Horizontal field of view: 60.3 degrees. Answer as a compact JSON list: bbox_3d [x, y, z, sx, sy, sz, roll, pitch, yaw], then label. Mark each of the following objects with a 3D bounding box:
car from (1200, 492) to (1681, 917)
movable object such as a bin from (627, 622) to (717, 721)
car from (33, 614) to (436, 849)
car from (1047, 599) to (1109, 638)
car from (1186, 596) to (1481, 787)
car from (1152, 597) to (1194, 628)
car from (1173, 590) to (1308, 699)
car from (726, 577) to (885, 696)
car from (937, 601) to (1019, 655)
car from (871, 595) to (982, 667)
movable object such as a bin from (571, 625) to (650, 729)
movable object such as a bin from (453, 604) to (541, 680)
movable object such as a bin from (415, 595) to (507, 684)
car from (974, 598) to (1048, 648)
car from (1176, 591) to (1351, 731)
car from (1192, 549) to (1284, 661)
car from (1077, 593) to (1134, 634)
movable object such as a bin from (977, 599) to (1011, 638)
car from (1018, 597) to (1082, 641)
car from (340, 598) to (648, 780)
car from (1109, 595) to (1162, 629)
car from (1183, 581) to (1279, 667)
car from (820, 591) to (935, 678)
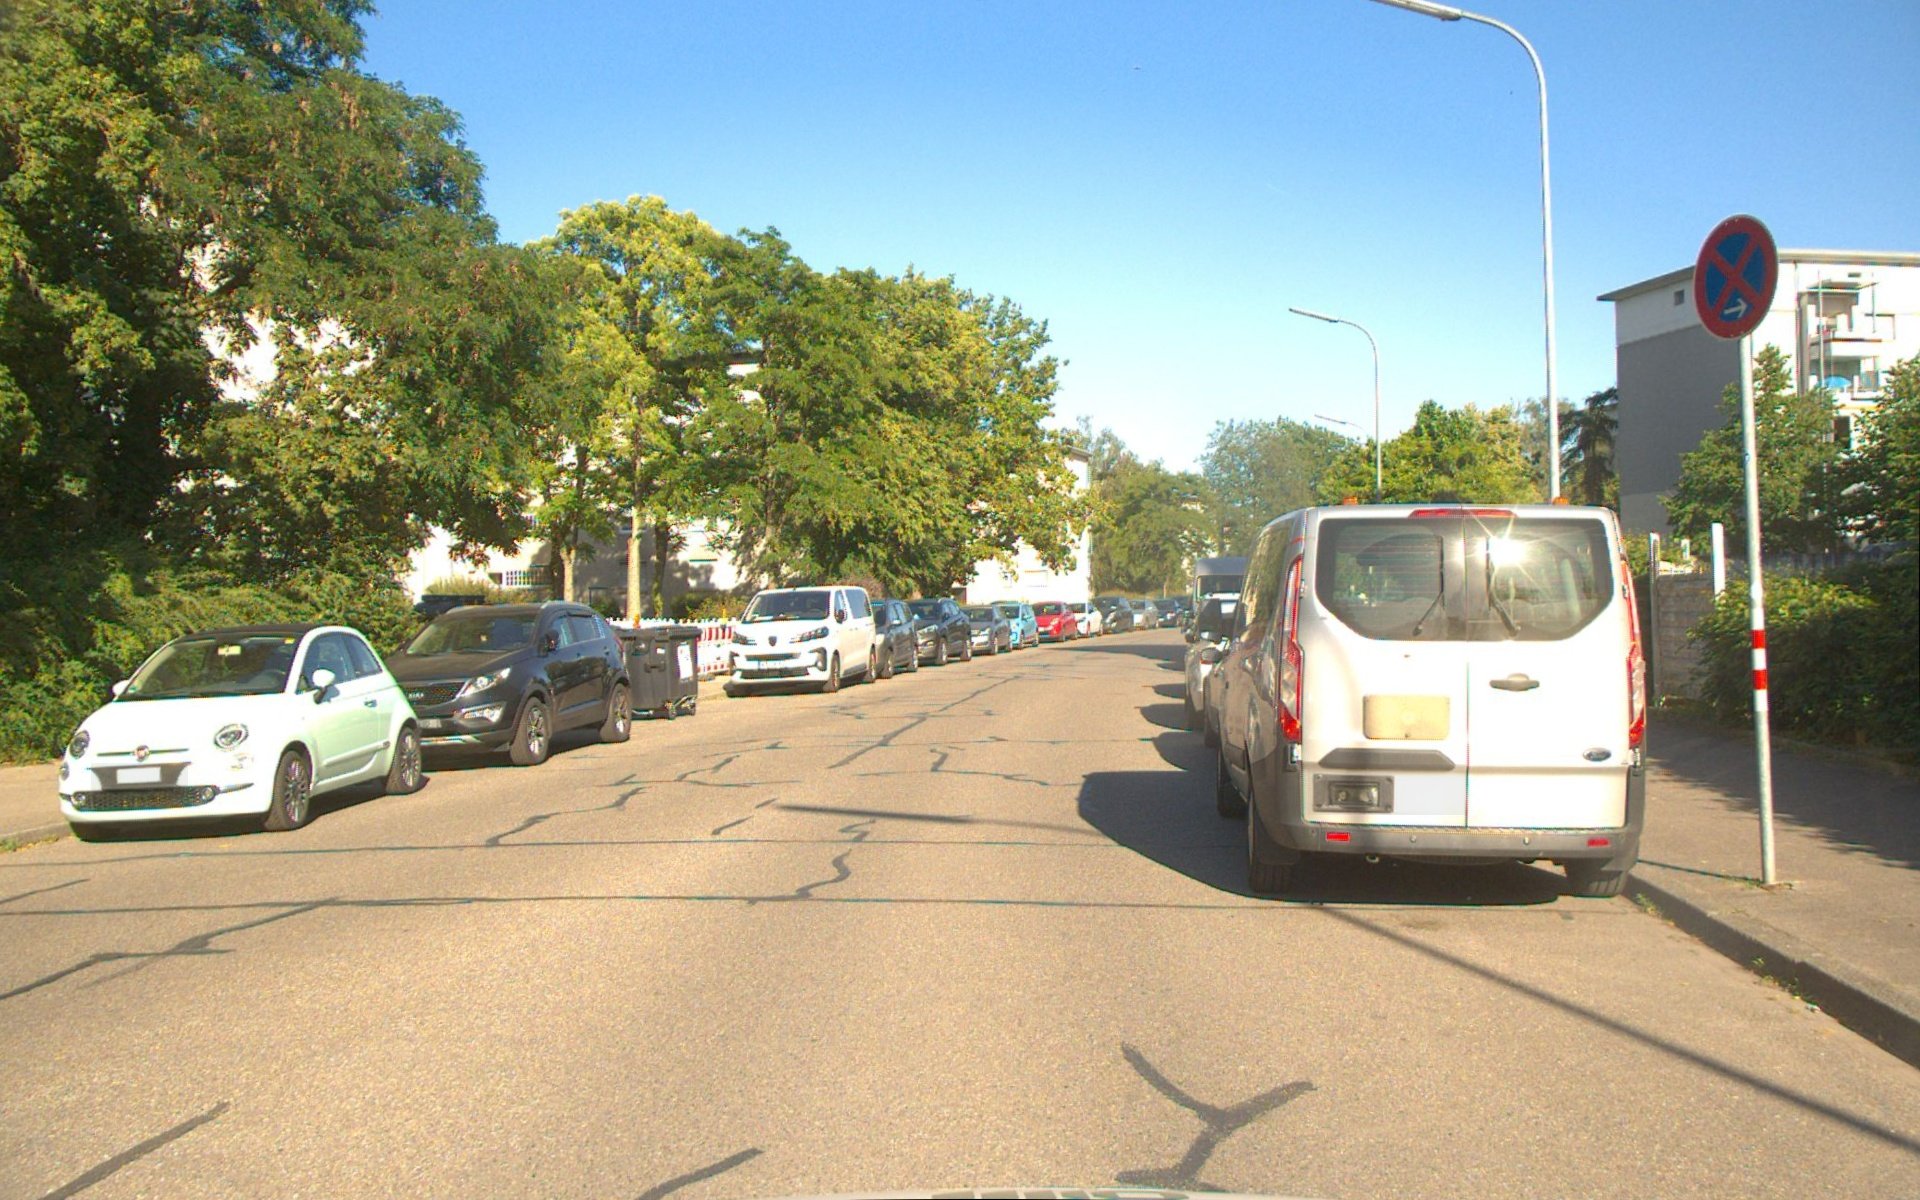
[{"bbox_3d":[2.571,0.496,10.127,1.951,1.946,4.957,-1,0,6],"label":"car"},{"bbox_3d":[-4.160,1.021,23.967,0.786,1.338,1.322,-2,1,14],"label":"movable object such as a bin"},{"bbox_3d":[-5.576,0.927,13.181,1.592,1.554,3.420,-2,0,1],"label":"car"},{"bbox_3d":[4.767,0.719,66.265,1.635,1.446,3.904,-3,-1,16],"label":"car"},{"bbox_3d":[3.229,0.721,15.293,1.951,1.442,4.926,-2,0,5],"label":"car"},{"bbox_3d":[10.853,0.595,84.027,1.625,1.451,4.052,-3,-1,14],"label":"car"},{"bbox_3d":[4.311,0.645,25.903,1.869,1.514,4.378,-2,0,8],"label":"car"},{"bbox_3d":[-2.772,0.621,30.735,1.824,1.995,4.674,-2,0,8],"label":"car"},{"bbox_3d":[0.587,0.810,49.167,1.635,1.462,4.003,-3,-1,12],"label":"car"},{"bbox_3d":[-0.786,0.746,41.731,1.711,1.646,4.366,-2,0,13],"label":"car"},{"bbox_3d":[-4.806,1.041,22.818,0.596,1.363,1.270,-2,0,11],"label":"movable object such as a bin"},{"bbox_3d":[-9.038,0.799,32.335,1.248,1.426,1.263,-1,0,6],"label":"movable object such as a bin"},{"bbox_3d":[-9.167,0.716,30.468,1.232,1.578,1.280,-1,0,3],"label":"movable object such as a bin"},{"bbox_3d":[1.716,0.733,54.410,1.635,1.500,3.681,-3,-1,14],"label":"car"},{"bbox_3d":[3.646,0.688,20.517,1.869,1.514,4.378,-2,0,8],"label":"car"},{"bbox_3d":[6.864,0.114,40.628,2.060,2.530,5.861,0,0,10],"label":"car"},{"bbox_3d":[6.460,0.562,72.900,1.635,1.696,4.409,-3,-1,16],"label":"car"},{"bbox_3d":[1.378,0.730,66.399,1.087,1.524,1.410,-2,0,12],"label":"movable object such as a bin"},{"bbox_3d":[3.320,0.669,60.751,1.635,1.500,3.681,-3,-1,14],"label":"car"},{"bbox_3d":[-4.896,0.865,18.051,1.639,1.667,4.254,-3,0,7],"label":"car"},{"bbox_3d":[8.405,0.548,78.925,1.625,1.512,4.055,-3,-1,18],"label":"car"},{"bbox_3d":[5.744,0.490,35.498,1.869,1.695,4.378,-2,0,8],"label":"car"},{"bbox_3d":[-1.734,0.702,36.102,1.522,1.752,4.344,-2,0,10],"label":"car"}]
